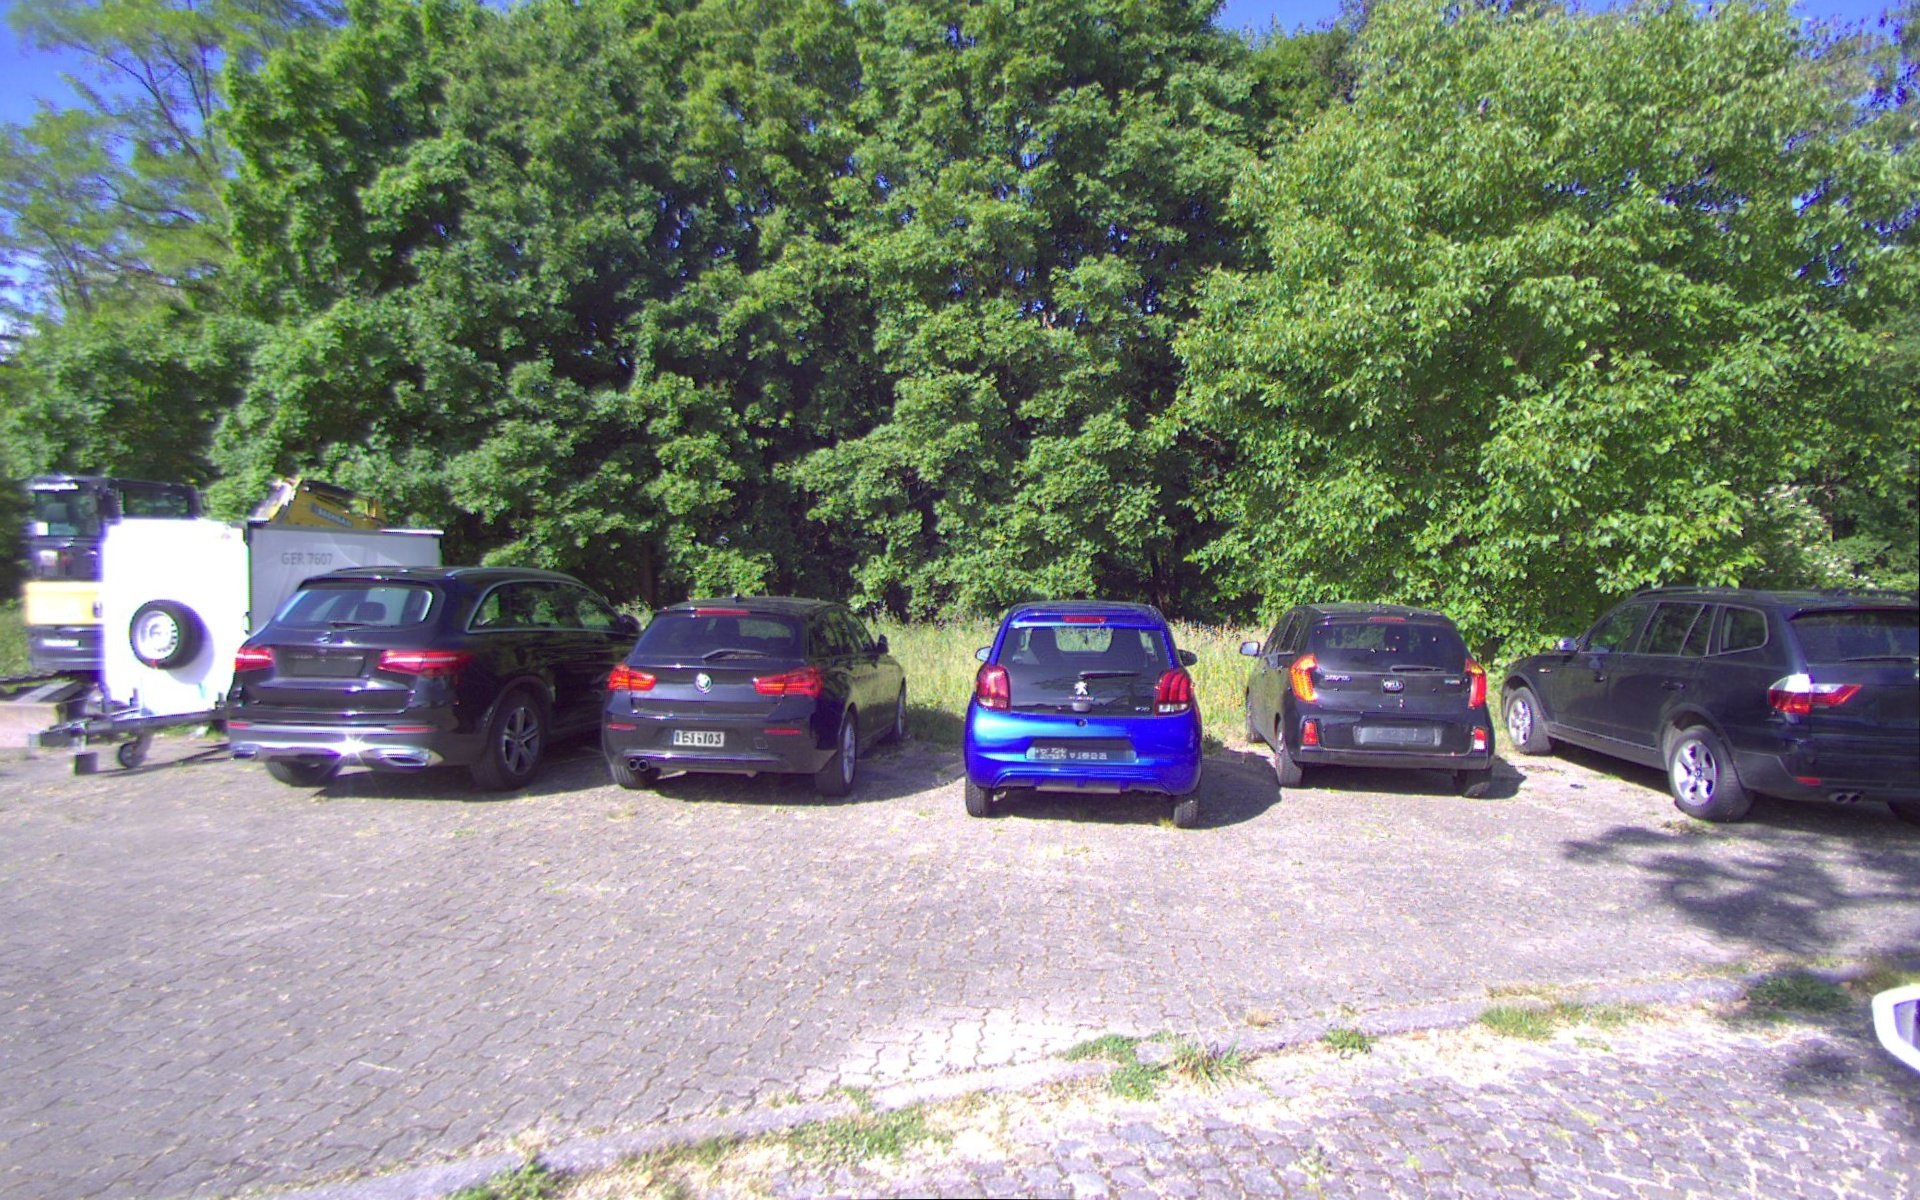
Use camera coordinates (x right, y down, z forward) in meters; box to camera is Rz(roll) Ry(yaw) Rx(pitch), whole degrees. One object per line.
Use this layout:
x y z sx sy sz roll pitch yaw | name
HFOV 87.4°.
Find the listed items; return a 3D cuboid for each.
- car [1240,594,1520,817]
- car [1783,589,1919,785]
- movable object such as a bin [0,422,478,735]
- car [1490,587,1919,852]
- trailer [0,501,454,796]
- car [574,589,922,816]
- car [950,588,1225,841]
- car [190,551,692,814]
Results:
3.571 0.756 9.186 1.644 1.536 3.553 2 1 11 | car
9.250 0.795 7.981 1.758 1.674 4.298 0 2 -2 | car
-8.514 -0.180 12.364 1.959 3.005 5.168 0 -1 11 | movable object such as a bin
6.294 0.732 8.432 1.781 1.678 4.192 0 1 5 | car
-6.657 0.322 9.276 1.606 2.122 3.975 0 1 7 | trailer
-1.488 0.676 8.458 1.797 1.470 3.665 0 0 6 | car
1.056 0.707 8.137 1.679 1.513 3.665 2 0 9 | car
-3.887 0.527 8.379 1.830 1.663 3.823 0 0 8 | car
